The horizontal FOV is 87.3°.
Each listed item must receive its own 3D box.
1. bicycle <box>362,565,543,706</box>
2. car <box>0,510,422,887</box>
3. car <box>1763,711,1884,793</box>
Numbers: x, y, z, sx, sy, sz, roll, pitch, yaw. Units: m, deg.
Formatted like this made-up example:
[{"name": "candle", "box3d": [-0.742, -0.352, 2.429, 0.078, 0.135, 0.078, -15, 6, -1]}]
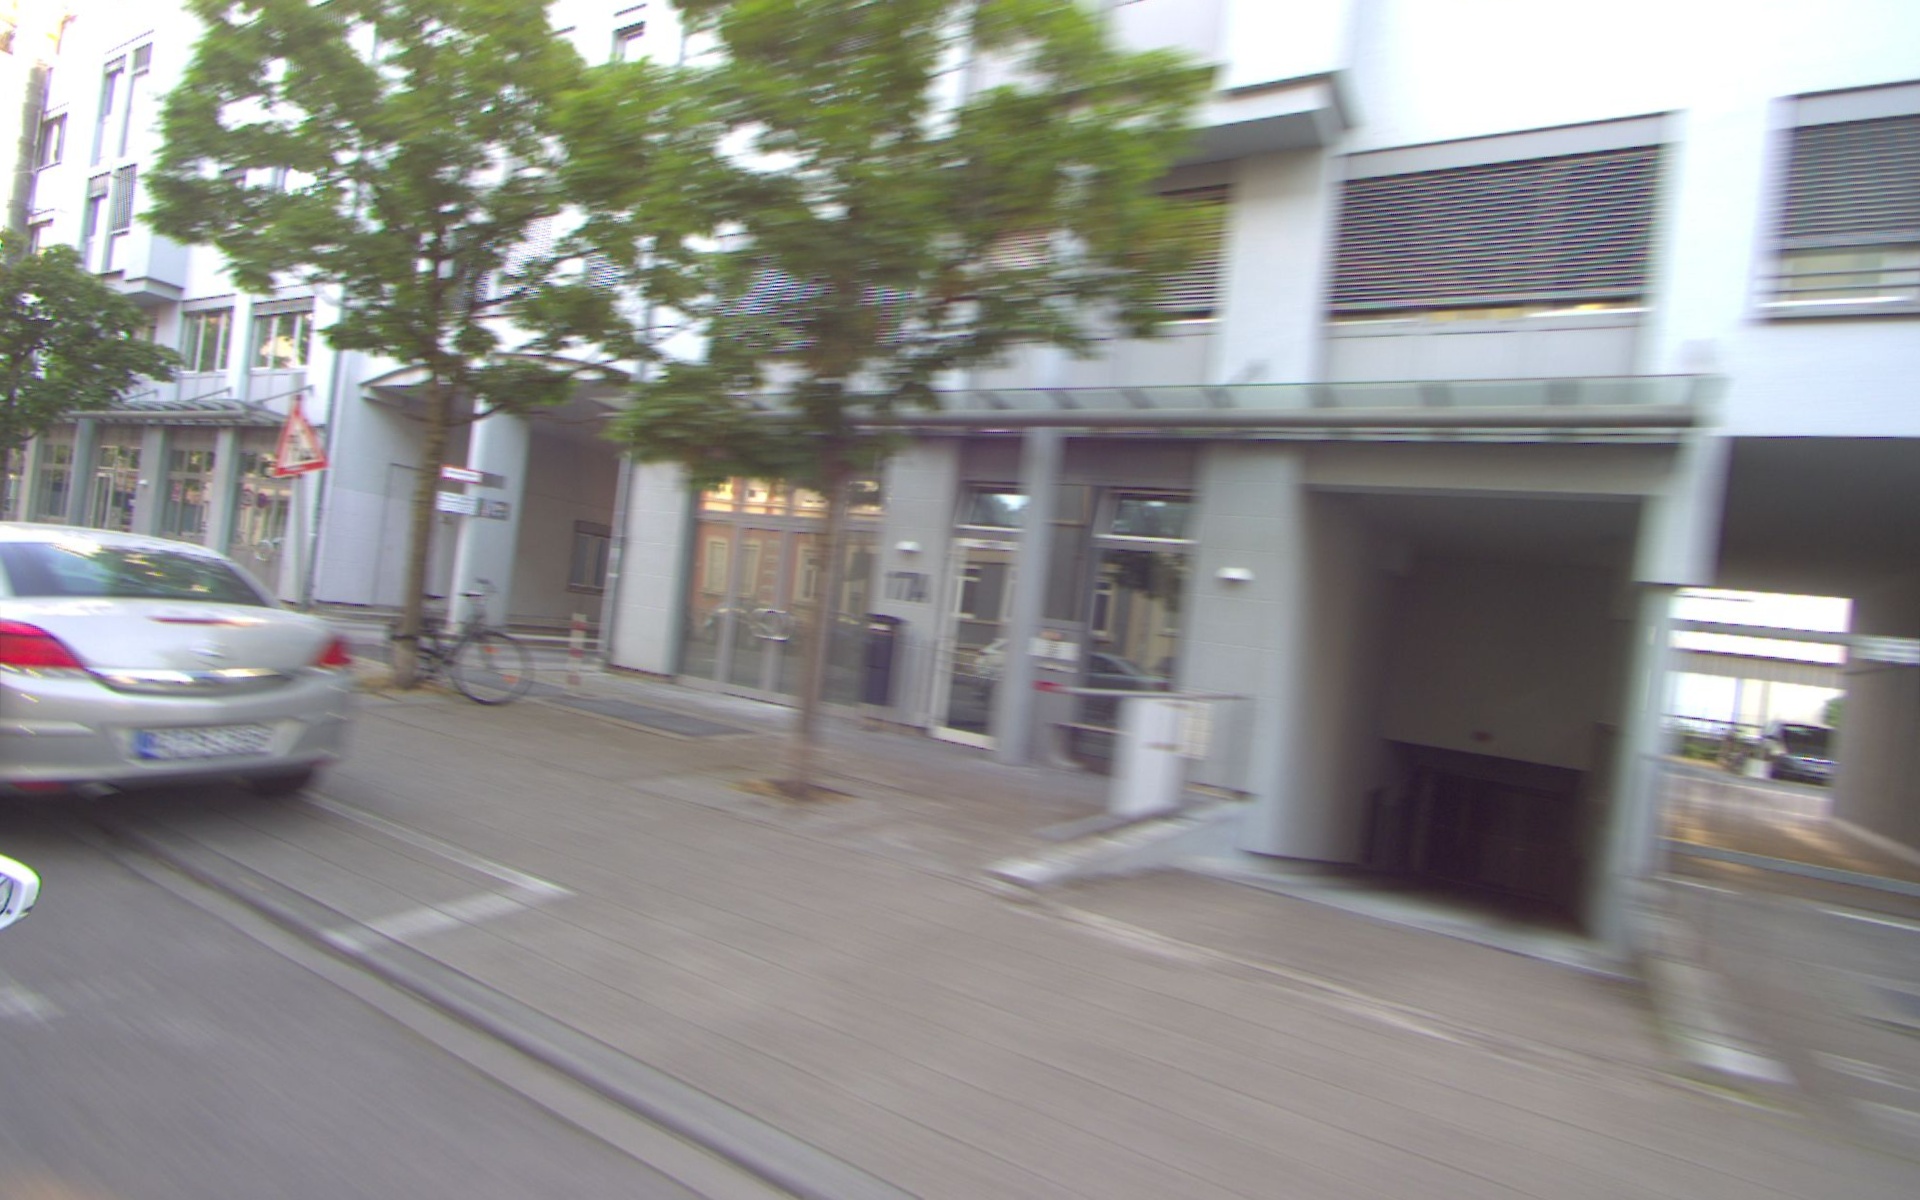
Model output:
[{"name": "bicycle", "box3d": [-5.079, 0.337, 10.050, 1.708, 1.183, 0.521, 6, 1, 21]}, {"name": "car", "box3d": [-5.196, 0.268, 5.739, 4.273, 1.447, 1.765, 6, 0, 32]}, {"name": "car", "box3d": [24.121, 4.175, 28.253, 1.968, 1.705, 3.988, 7, 0, 34]}]
